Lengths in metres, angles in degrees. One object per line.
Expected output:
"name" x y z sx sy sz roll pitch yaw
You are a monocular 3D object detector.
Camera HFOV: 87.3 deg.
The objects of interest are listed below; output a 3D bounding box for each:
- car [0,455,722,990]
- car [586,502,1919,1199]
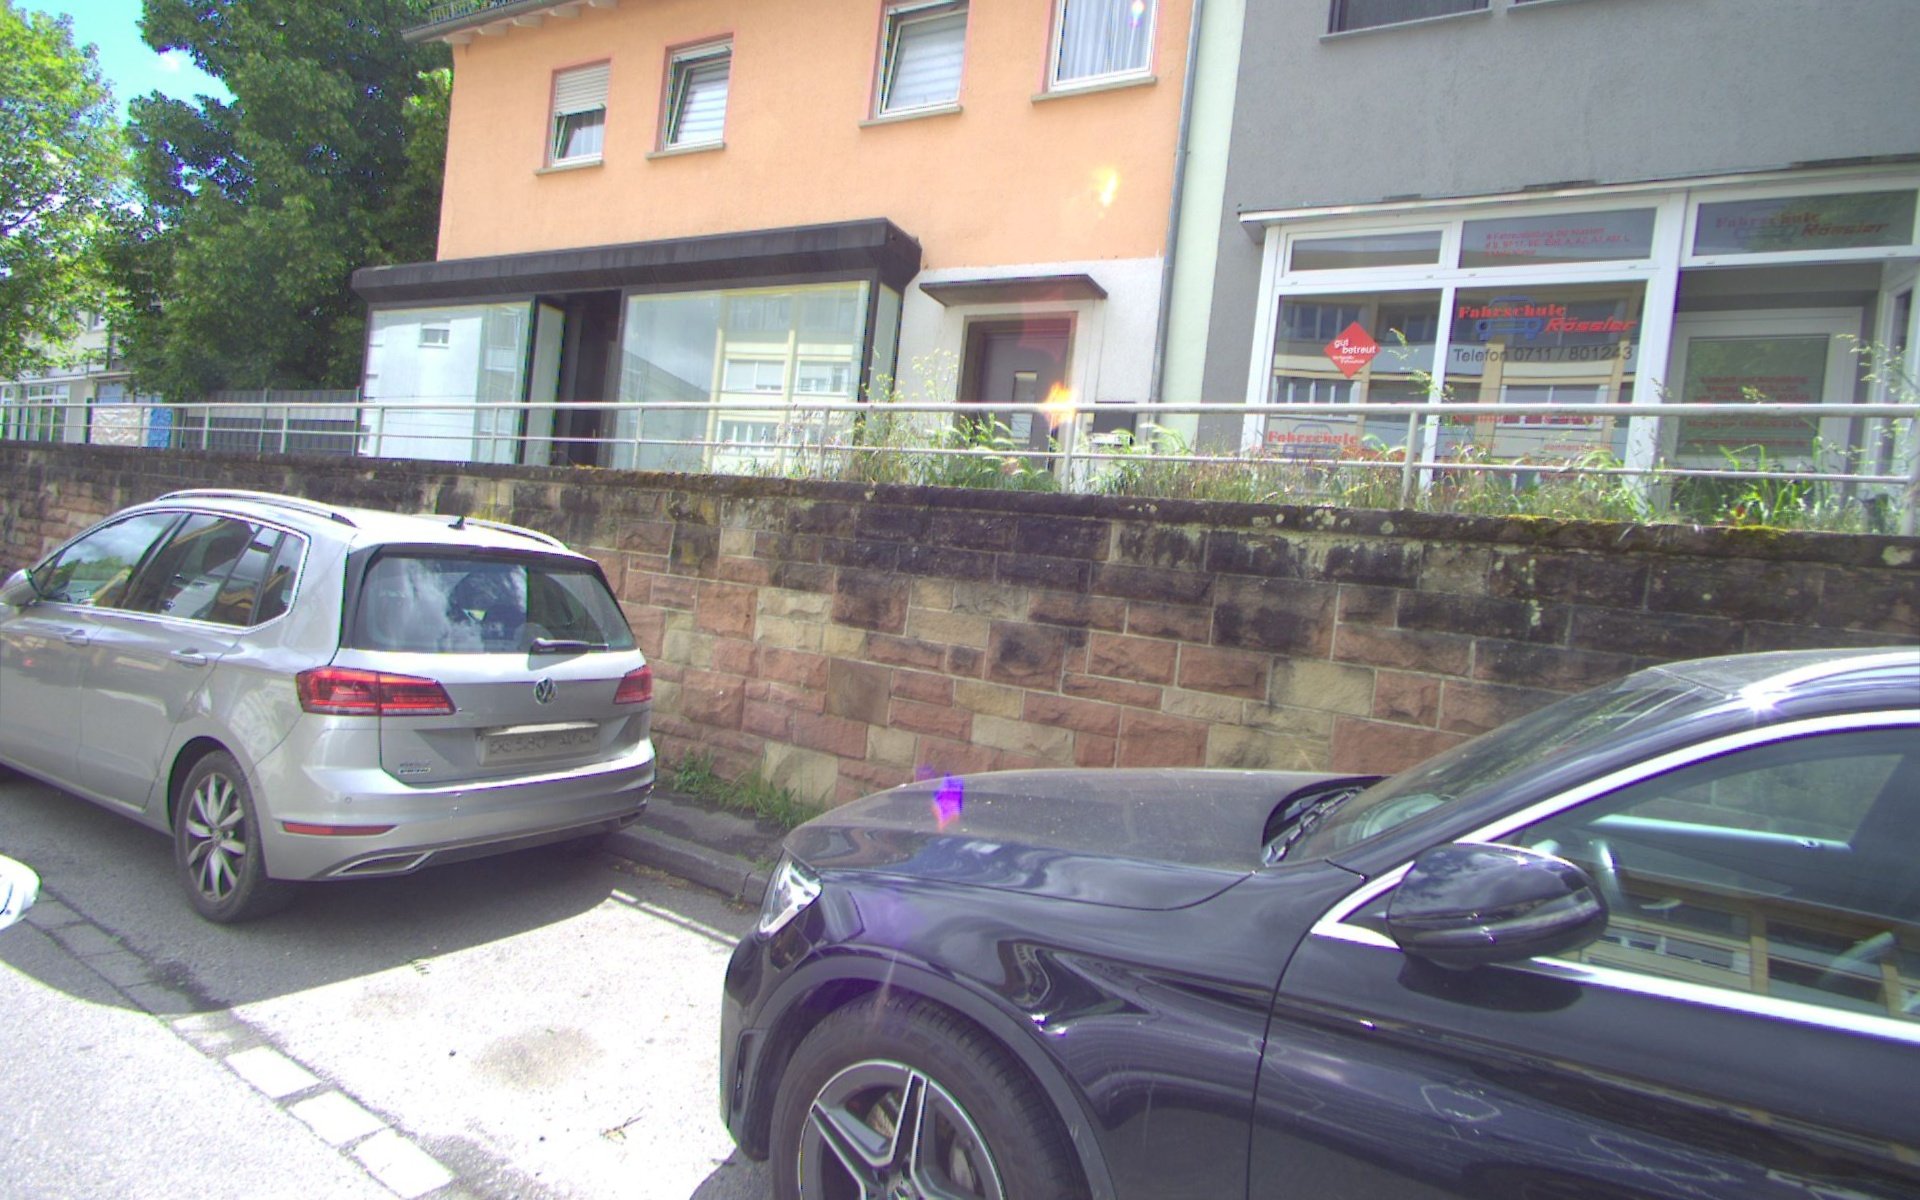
"car" -3.429 0.268 5.041 4.177 1.638 1.791 7 1 31
"car" 1.531 0.851 1.922 4.373 1.639 1.791 7 2 31
